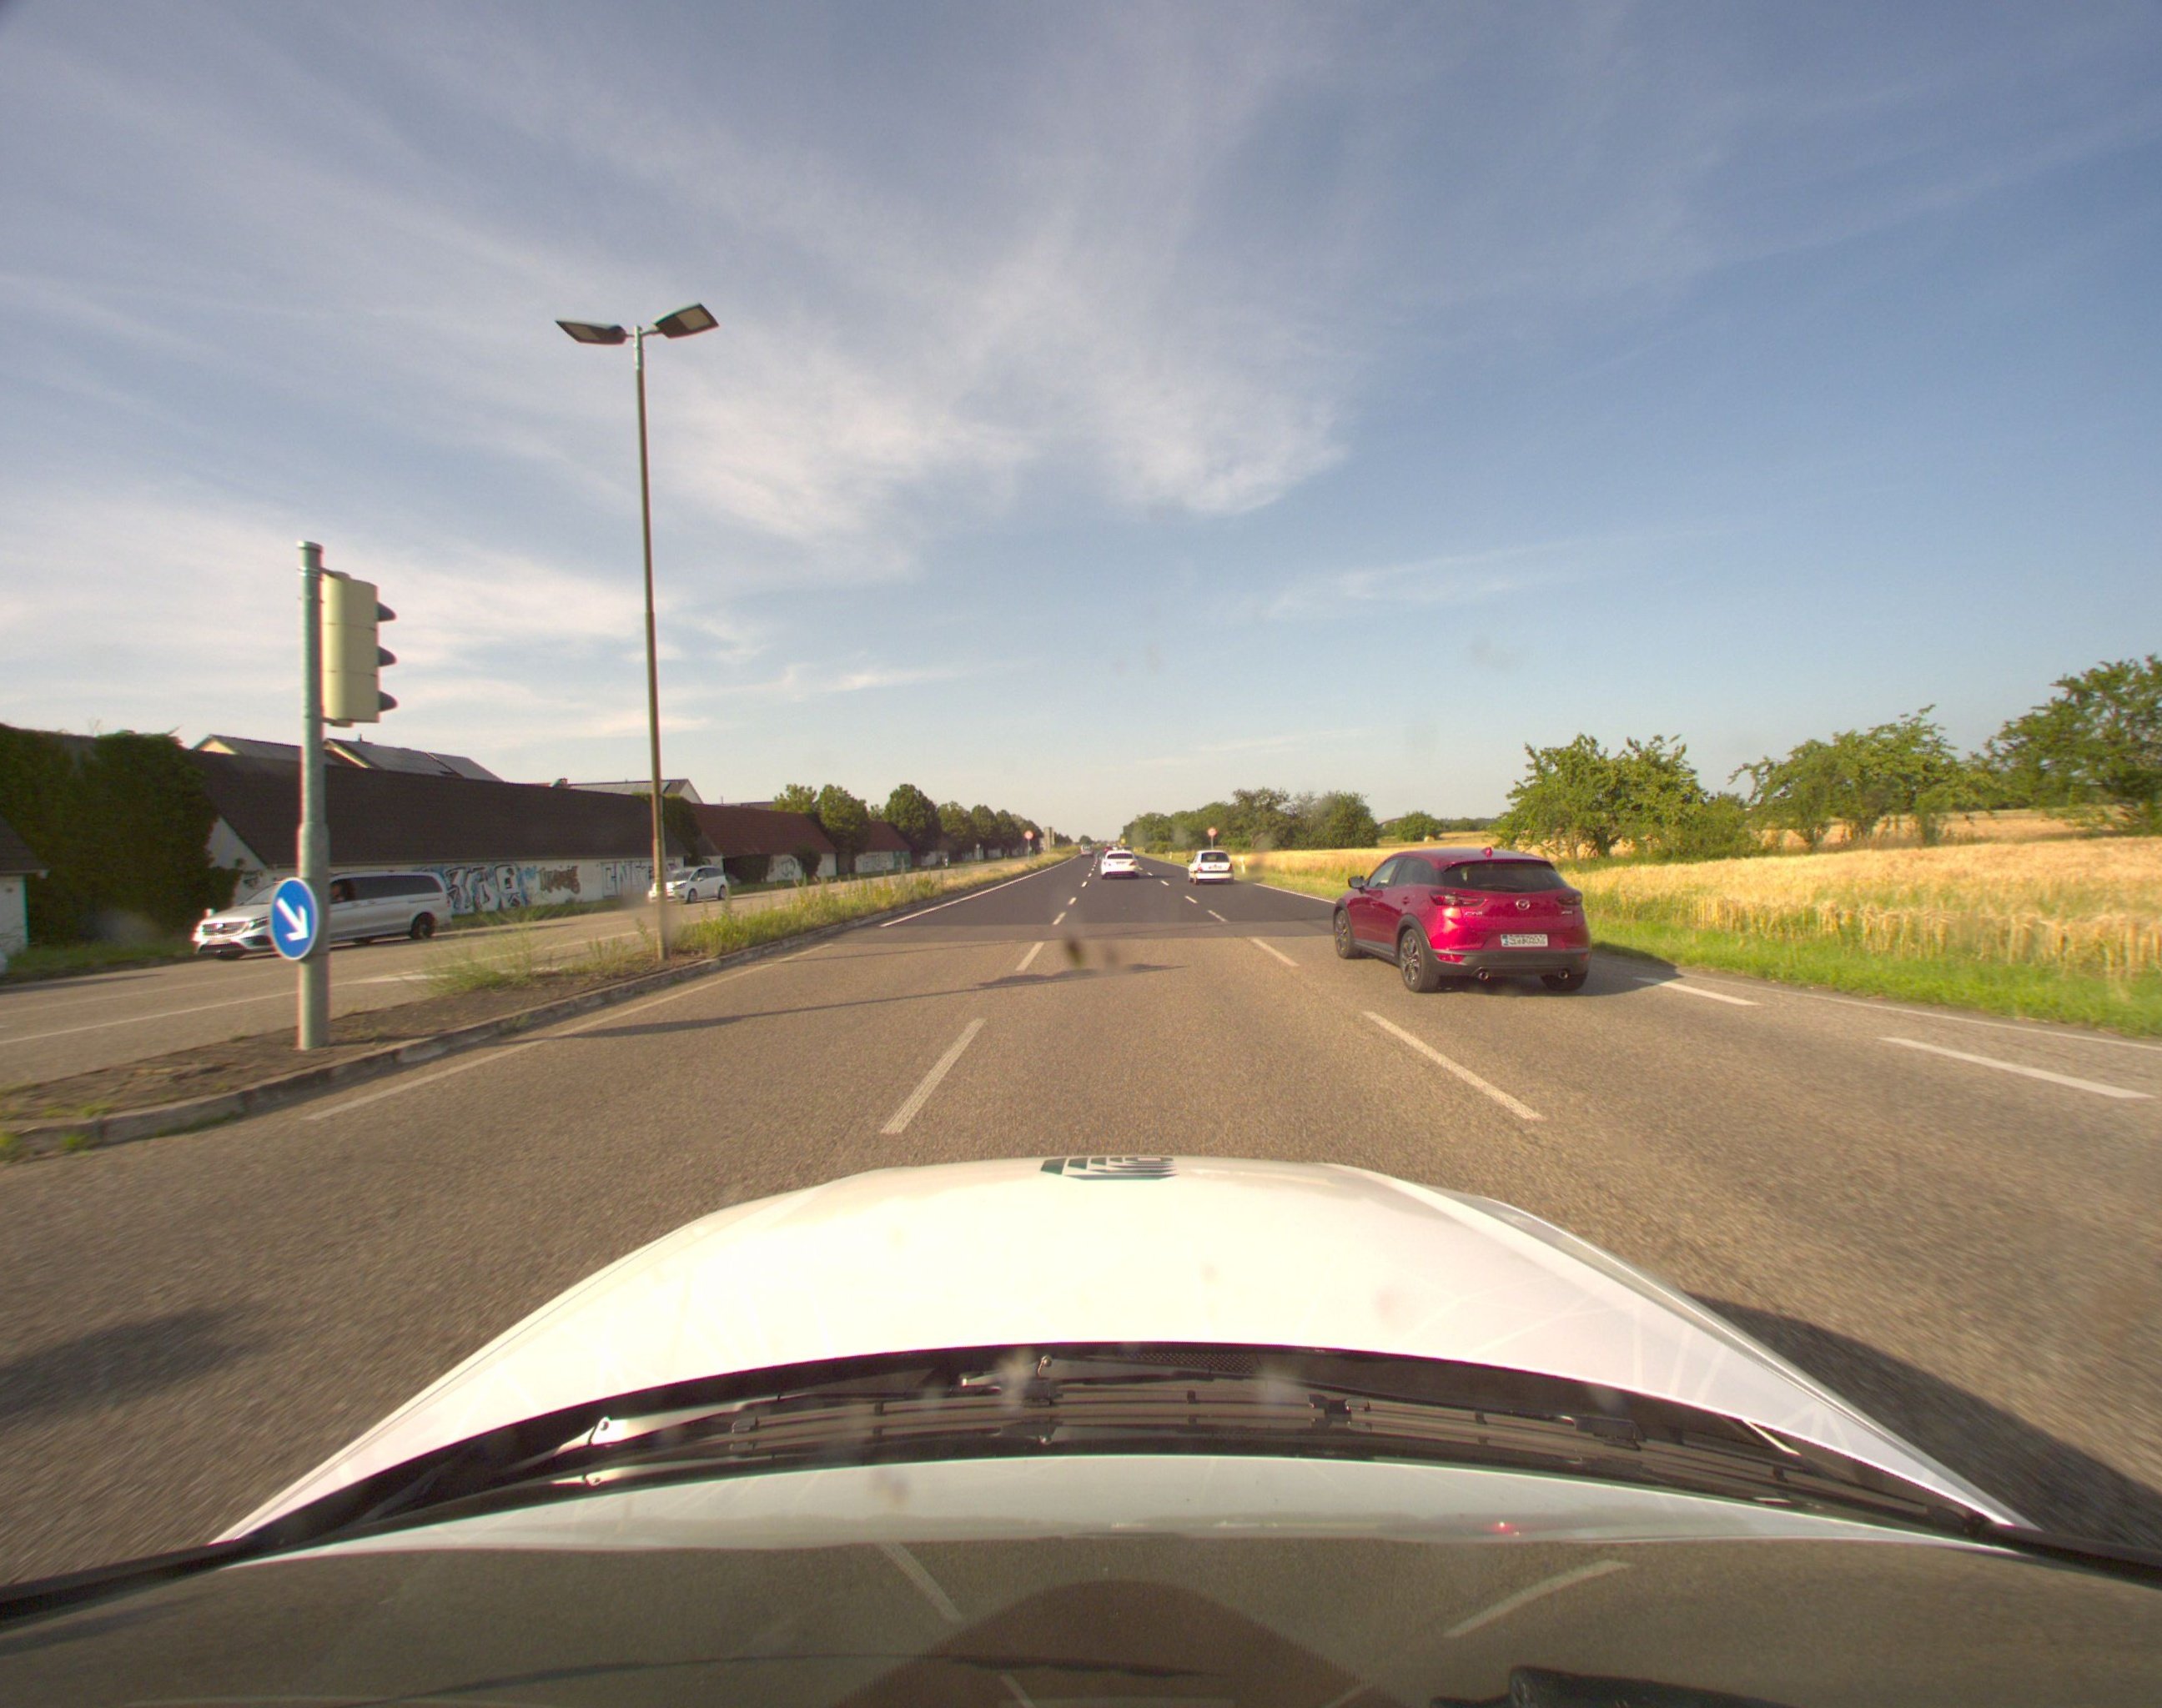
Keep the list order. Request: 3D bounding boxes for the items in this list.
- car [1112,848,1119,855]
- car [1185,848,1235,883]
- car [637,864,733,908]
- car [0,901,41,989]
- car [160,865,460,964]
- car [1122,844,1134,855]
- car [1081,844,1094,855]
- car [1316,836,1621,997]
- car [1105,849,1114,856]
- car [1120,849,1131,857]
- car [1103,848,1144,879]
[{"bbox_3d":[8.618,-0.627,204.022,1.795,1.904,3.562,-1,0,3],"label":"car"},{"bbox_3d":[5.414,0.479,34.653,1.611,1.387,3.953,-1,0,2],"label":"car"},{"bbox_3d":[-18.049,1.413,37.400,1.829,1.707,4.760,-4,0,2],"label":"car"},{"bbox_3d":[-19.887,1.671,12.480,1.693,1.497,4.548,-5,-1,8],"label":"car"},{"bbox_3d":[-18.687,1.342,20.256,1.899,1.928,5.460,-5,-1,4],"label":"car"},{"bbox_3d":[7.697,-0.697,133.048,1.821,1.728,4.002,-1,0,2],"label":"car"},{"bbox_3d":[1.043,-0.619,123.943,1.751,1.618,4.004,-1,0,4],"label":"car"},{"bbox_3d":[4.331,0.602,9.991,1.698,1.506,4.502,-1,0,2],"label":"car"},{"bbox_3d":[5.368,-0.276,153.905,1.805,1.436,3.859,-1,0,1],"label":"car"},{"bbox_3d":[9.078,-0.198,166.373,1.987,1.585,4.282,-1,0,-1],"label":"car"},{"bbox_3d":[2.149,0.477,41.633,1.986,1.516,4.002,-1,0,2],"label":"car"}]
